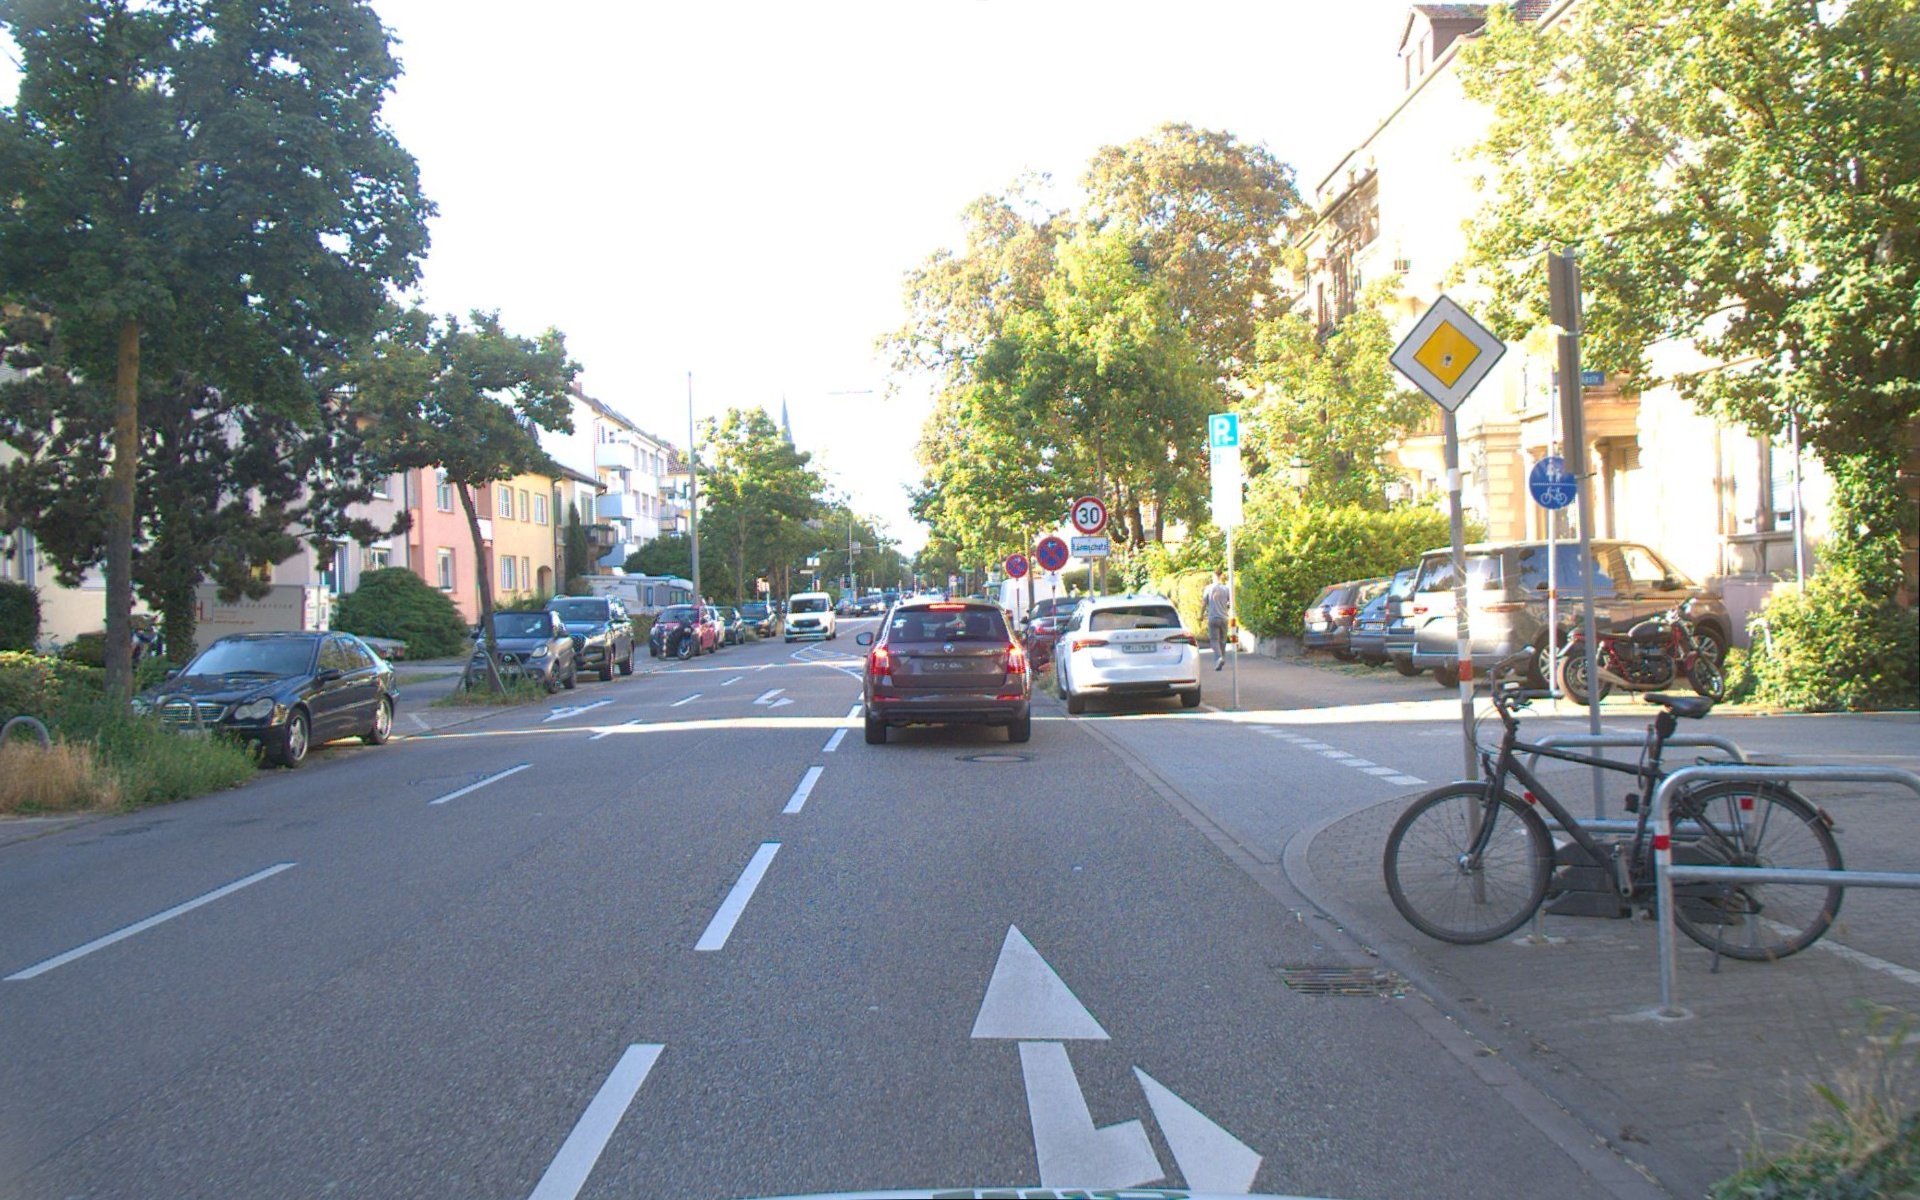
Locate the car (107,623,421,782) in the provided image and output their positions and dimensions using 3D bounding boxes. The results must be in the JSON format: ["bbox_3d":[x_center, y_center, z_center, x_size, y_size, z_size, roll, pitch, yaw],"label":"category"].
[{"bbox_3d":[-7.780,1.072,18.988,1.718,1.445,4.425,-2,1,-1],"label":"car"}]

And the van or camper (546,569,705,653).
[{"bbox_3d":[-16.735,0.531,83.145,7.488,3.942,1.999,-2,0,-3],"label":"van or camper"}]

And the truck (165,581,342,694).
[{"bbox_3d":[-14.243,0.730,33.457,2.855,2.130,1.545,-2,0,-2],"label":"truck"}]

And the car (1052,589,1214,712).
[{"bbox_3d":[2.260,0.609,22.504,1.783,1.437,4.112,-2,1,1],"label":"car"}]

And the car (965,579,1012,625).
[{"bbox_3d":[1.165,0.057,69.677,1.695,1.846,3.949,-2,1,-3],"label":"car"}]

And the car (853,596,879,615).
[{"bbox_3d":[-7.992,0.474,140.784,1.953,1.534,3.999,-2,0,-1],"label":"car"}]

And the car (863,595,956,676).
[{"bbox_3d":[-1.109,0.690,34.595,1.696,1.520,3.947,-2,1,-5],"label":"car"}]

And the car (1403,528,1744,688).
[{"bbox_3d":[8.414,0.063,22.609,4.484,1.925,1.896,-2,0,-29],"label":"car"}]

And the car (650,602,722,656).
[{"bbox_3d":[-8.586,0.878,52.117,1.630,1.538,4.177,-2,1,-1],"label":"car"}]

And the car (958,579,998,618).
[{"bbox_3d":[0.860,-0.083,82.163,1.695,1.846,3.949,-2,1,-3],"label":"car"}]

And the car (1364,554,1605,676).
[{"bbox_3d":[8.263,0.201,25.988,3.762,1.708,1.496,-2,1,-31],"label":"car"}]

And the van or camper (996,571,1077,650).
[{"bbox_3d":[2.093,0.253,46.401,1.953,2.048,3.999,-2,1,-1],"label":"van or camper"}]

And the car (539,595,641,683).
[{"bbox_3d":[-8.181,0.823,36.830,1.476,1.788,3.692,-2,1,-1],"label":"car"}]

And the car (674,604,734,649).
[{"bbox_3d":[-8.908,0.902,57.800,1.630,1.457,3.274,-2,1,-1],"label":"car"}]

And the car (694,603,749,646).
[{"bbox_3d":[-8.975,0.905,62.343,1.630,1.457,3.274,-2,1,-1],"label":"car"}]

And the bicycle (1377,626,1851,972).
[{"bbox_3d":[2.603,0.797,6.751,1.635,1.247,0.636,-4,0,11],"label":"bicycle"}]

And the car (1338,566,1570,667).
[{"bbox_3d":[8.557,0.263,28.611,3.749,1.552,1.501,-2,0,-23],"label":"car"}]

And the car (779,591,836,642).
[{"bbox_3d":[-5.832,0.598,63.639,1.839,1.788,4.177,-2,1,-1],"label":"car"}]

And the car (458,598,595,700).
[{"bbox_3d":[-8.351,0.896,32.160,1.715,1.771,3.590,-2,1,-1],"label":"car"}]

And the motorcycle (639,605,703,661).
[{"bbox_3d":[-8.247,0.927,47.149,0.761,1.538,1.998,-2,1,-43],"label":"motorcycle"}]

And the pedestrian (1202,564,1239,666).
[{"bbox_3d":[4.756,0.267,30.178,0.524,1.825,0.687,-2,0,1],"label":"pedestrian"}]

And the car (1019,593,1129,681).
[{"bbox_3d":[2.068,0.639,30.986,1.783,1.437,4.112,-2,1,1],"label":"car"}]

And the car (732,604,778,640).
[{"bbox_3d":[-9.090,0.949,73.508,1.630,1.457,3.274,-2,1,-1],"label":"car"}]

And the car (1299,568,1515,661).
[{"bbox_3d":[8.310,0.246,30.728,3.749,1.552,1.501,-2,0,-23],"label":"car"}]

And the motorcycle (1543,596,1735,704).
[{"bbox_3d":[7.794,0.562,19.012,2.012,1.144,0.525,-2,0,-7],"label":"motorcycle"}]

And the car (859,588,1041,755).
[{"bbox_3d":[-0.113,0.666,17.748,1.694,1.520,3.950,-2,1,-1],"label":"car"}]

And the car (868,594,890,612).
[{"bbox_3d":[-7.552,0.274,154.769,1.953,1.534,3.999,-2,0,-1],"label":"car"}]
